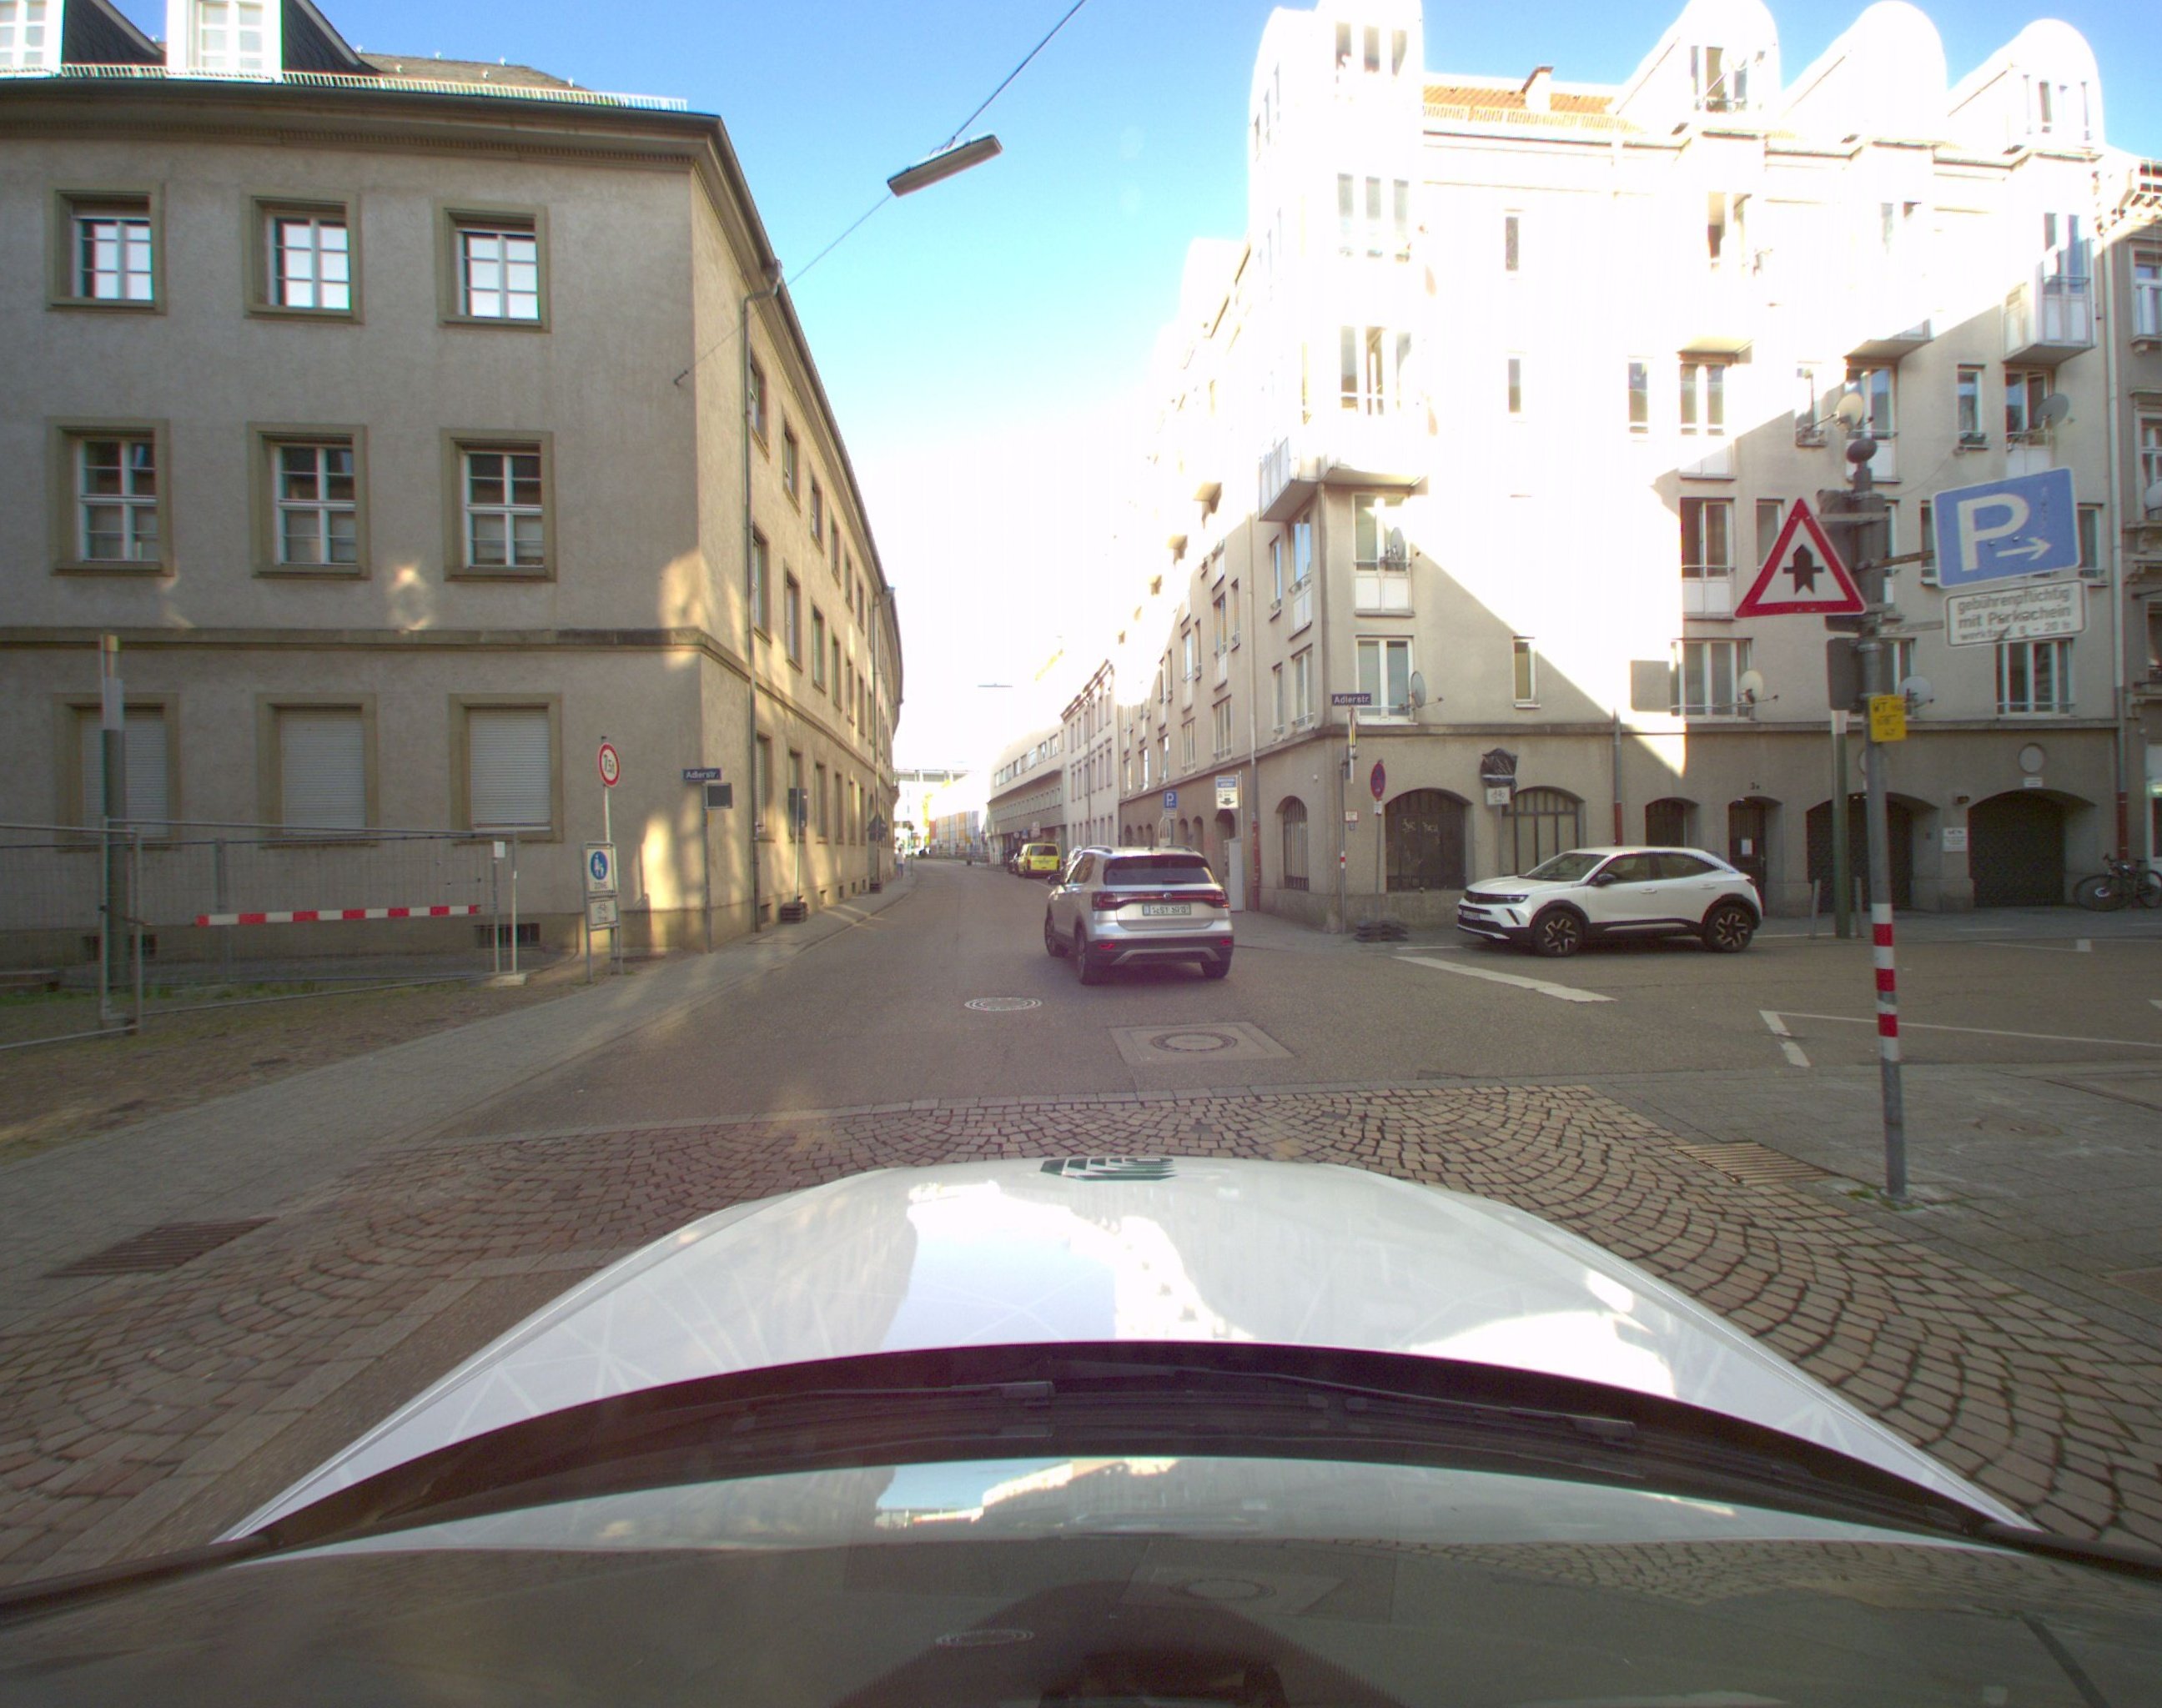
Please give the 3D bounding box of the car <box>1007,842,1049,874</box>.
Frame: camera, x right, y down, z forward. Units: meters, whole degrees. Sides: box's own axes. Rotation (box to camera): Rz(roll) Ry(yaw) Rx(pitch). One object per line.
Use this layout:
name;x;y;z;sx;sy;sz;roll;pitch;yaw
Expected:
car;-3.348;0.244;51.103;2.054;1.873;4.084;-1;1;-12

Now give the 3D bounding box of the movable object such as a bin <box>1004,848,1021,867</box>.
movable object such as a bin;-5.831;0.287;69.537;1.134;1.558;1.730;-1;0;-15

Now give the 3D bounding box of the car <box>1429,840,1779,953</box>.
car;7.830;0.586;12.492;4.204;1.553;1.901;-1;0;-2

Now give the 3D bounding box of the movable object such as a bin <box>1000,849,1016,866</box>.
movable object such as a bin;-6.396;0.310;71.238;1.134;1.479;1.730;-1;0;-15

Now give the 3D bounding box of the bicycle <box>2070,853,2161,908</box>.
bicycle;20.085;0.494;15.743;1.456;1.020;0.468;-1;0;-4

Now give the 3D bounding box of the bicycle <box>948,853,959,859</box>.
bicycle;-20.999;0.366;133.919;1.782;1.000;0.544;-1;0;-13

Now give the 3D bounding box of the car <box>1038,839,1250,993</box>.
car;0.594;0.639;10.658;1.836;1.562;3.987;-2;1;-9

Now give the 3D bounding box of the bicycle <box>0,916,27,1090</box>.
bicycle;-8.131;1.055;5.038;0.802;1.201;1.781;0;0;15

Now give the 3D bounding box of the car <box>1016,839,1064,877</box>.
car;-2.326;0.193;45.321;2.054;2.013;4.158;-1;1;-12

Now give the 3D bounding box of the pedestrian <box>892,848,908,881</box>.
pedestrian;-9.624;0.563;43.279;0.767;1.724;0.684;-1;0;-13

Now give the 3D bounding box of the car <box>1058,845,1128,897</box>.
car;0.341;0.542;28.866;1.966;1.692;4.091;0;0;-7
